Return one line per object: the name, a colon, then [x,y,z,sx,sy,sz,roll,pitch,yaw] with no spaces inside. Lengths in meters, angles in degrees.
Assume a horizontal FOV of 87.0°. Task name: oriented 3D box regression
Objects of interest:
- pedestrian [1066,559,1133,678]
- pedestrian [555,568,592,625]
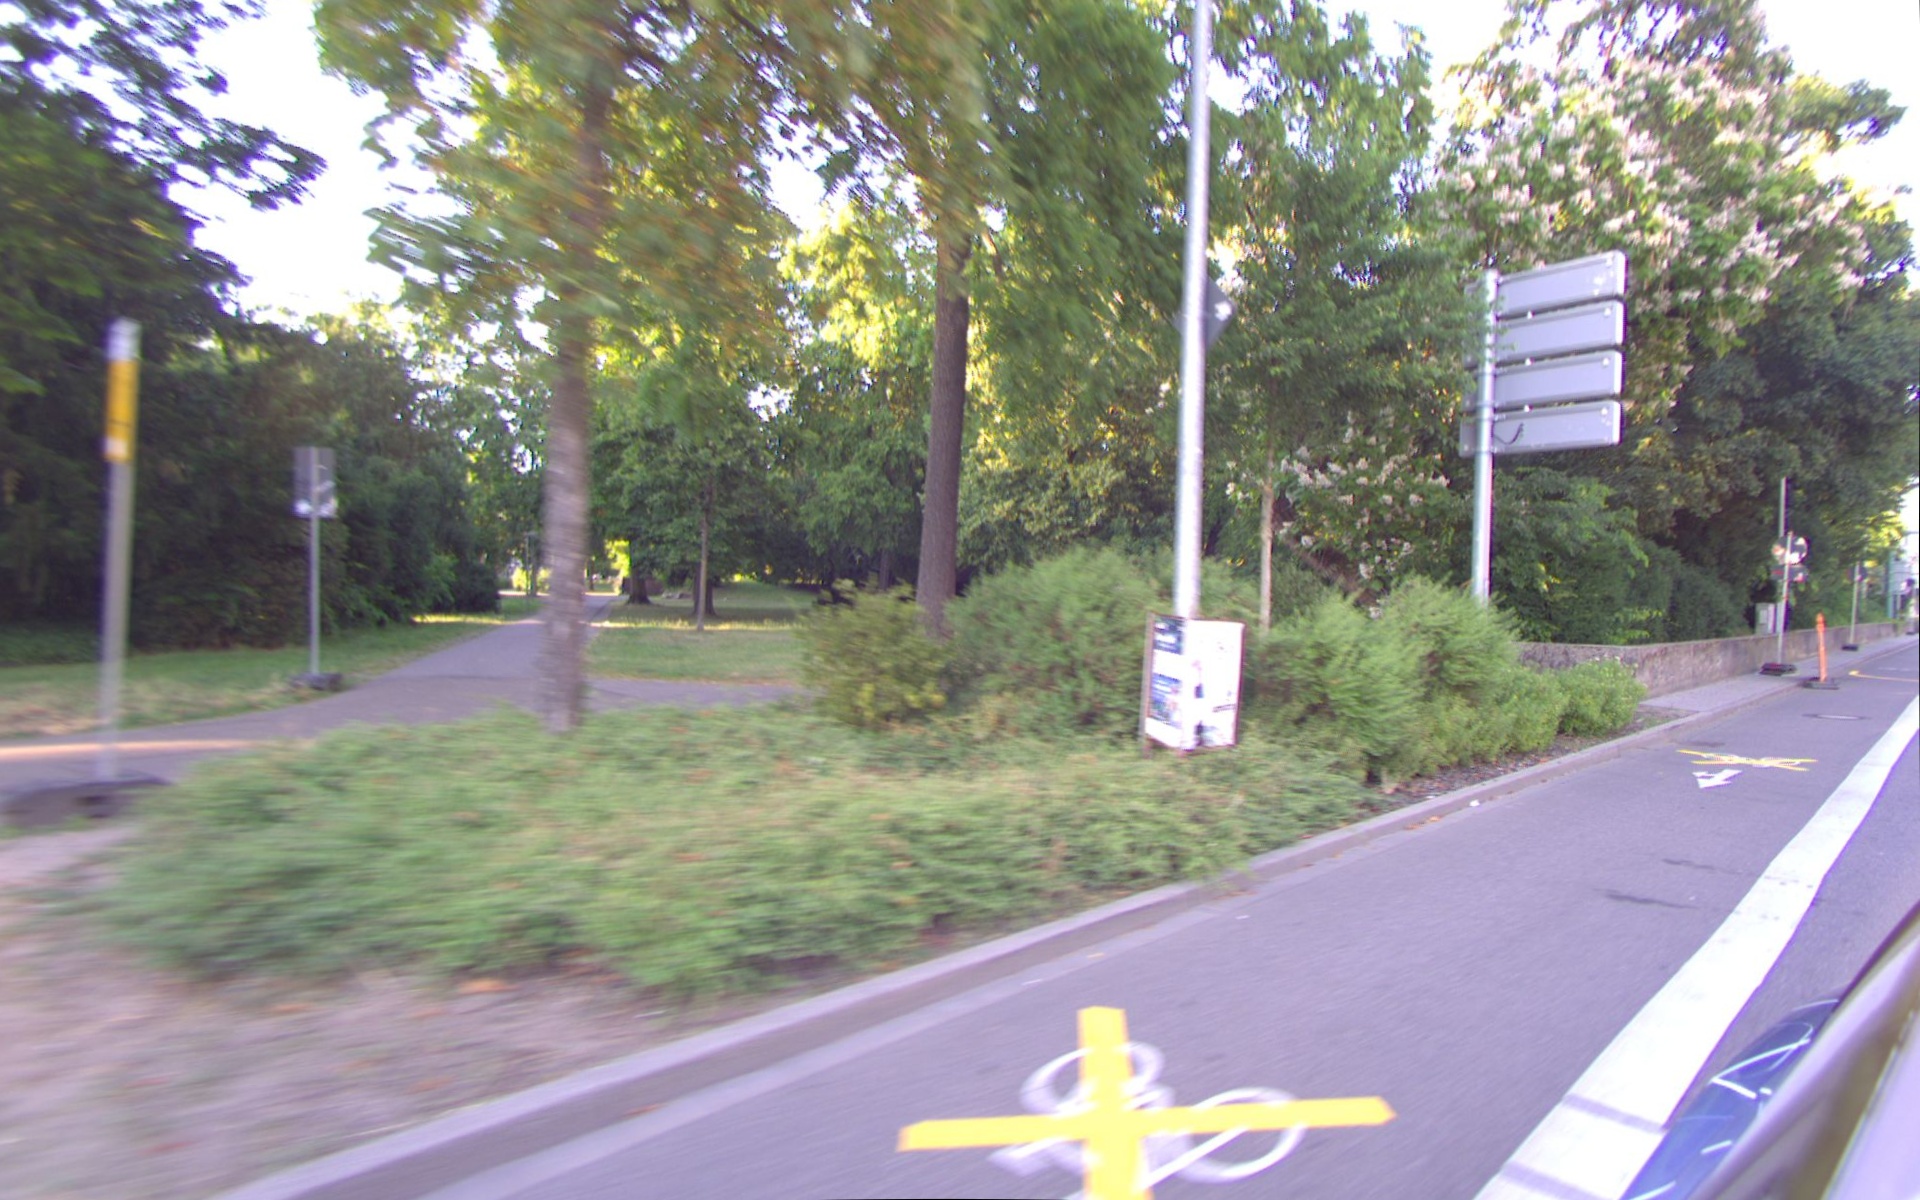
pedestrian: [2.245,0.282,16.267,0.789,1.855,0.764,1,0,34]
pedestrian: [-11.616,-0.109,30.453,0.819,1.644,0.818,4,0,-13]
